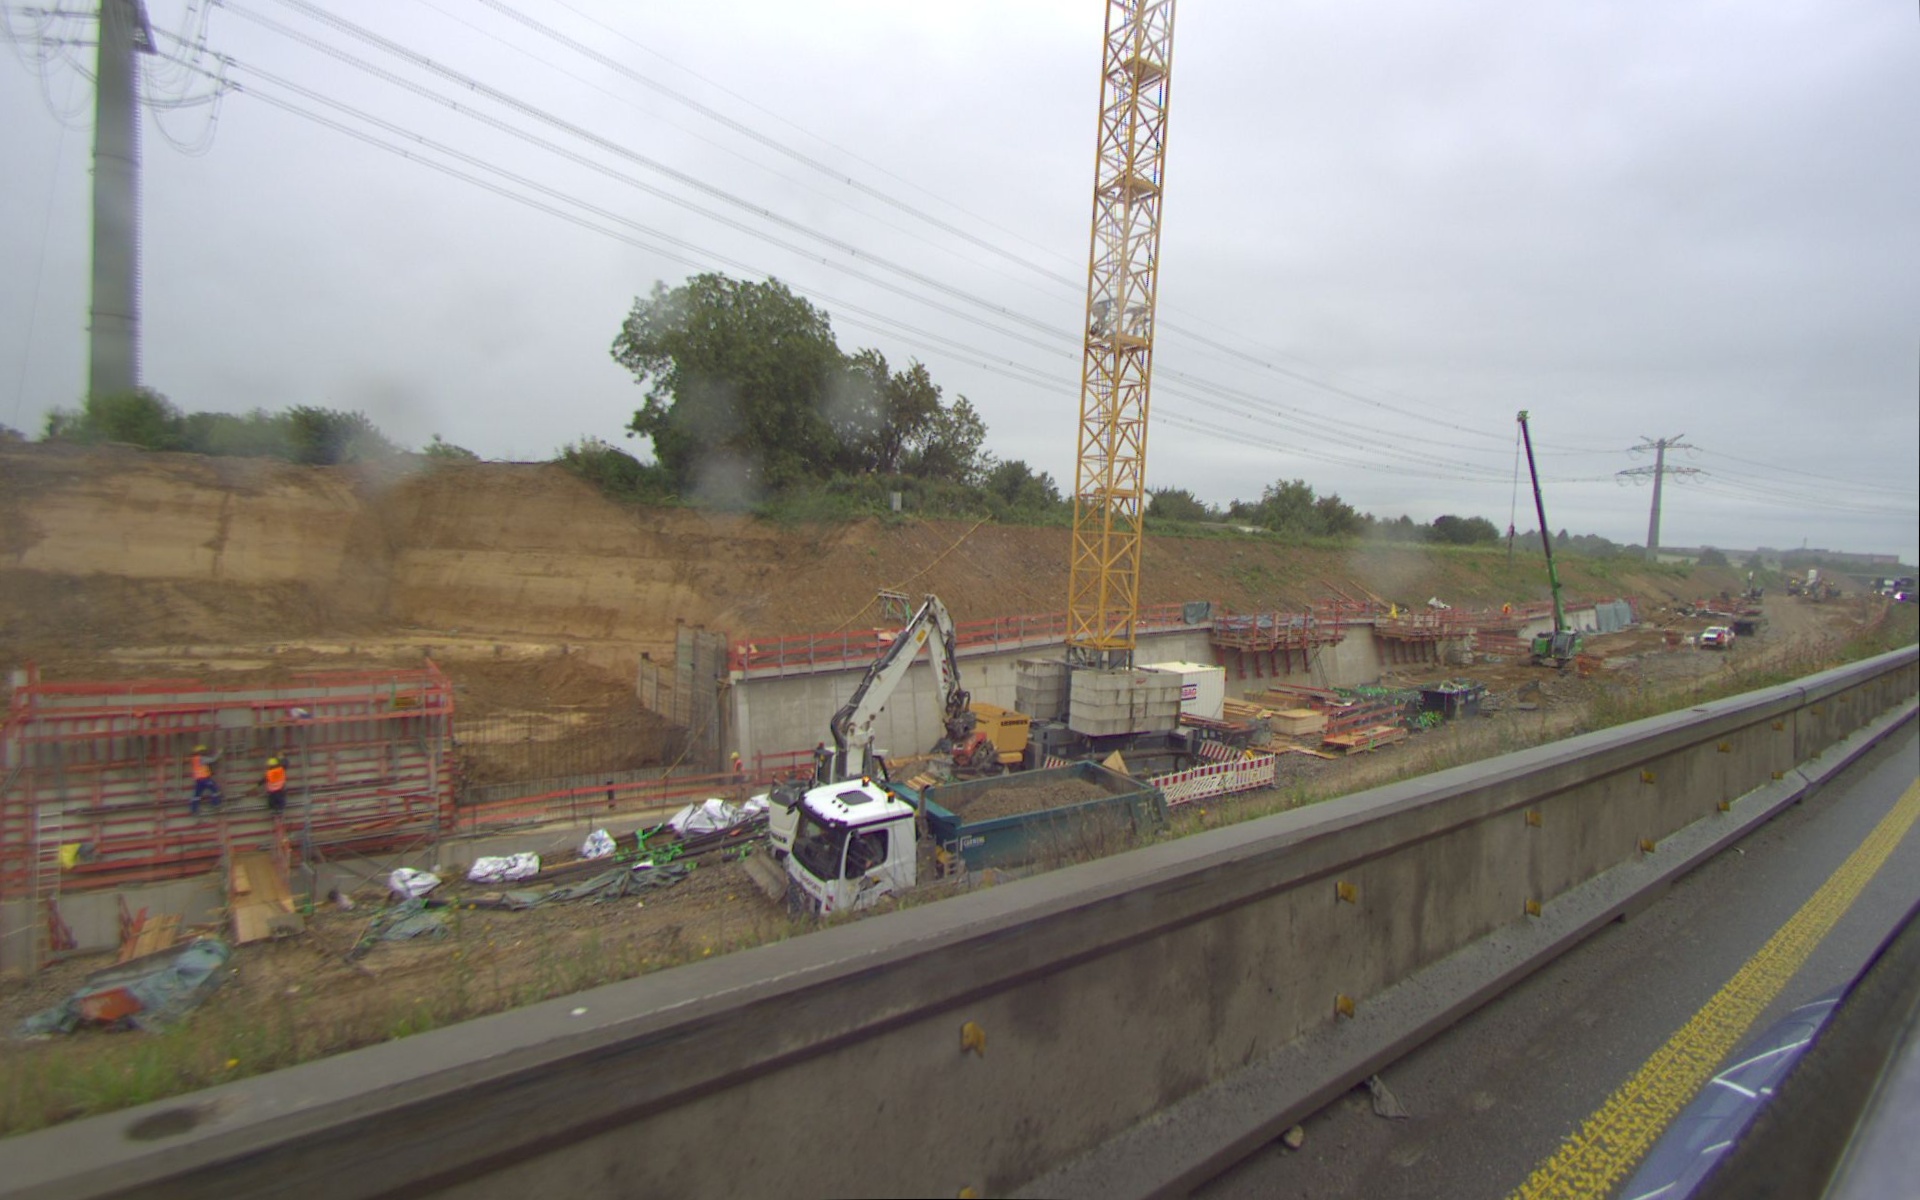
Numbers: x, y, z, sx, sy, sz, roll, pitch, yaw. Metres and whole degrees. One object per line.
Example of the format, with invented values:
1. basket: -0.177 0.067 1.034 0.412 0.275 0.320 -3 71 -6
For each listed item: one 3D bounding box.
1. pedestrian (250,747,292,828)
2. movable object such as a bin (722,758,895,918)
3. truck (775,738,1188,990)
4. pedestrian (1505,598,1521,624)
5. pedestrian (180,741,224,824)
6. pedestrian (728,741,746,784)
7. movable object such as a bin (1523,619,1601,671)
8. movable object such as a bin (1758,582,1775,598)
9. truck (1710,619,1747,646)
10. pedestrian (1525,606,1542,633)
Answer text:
1. pedestrian: -18.890 5.130 27.740 0.882 2.027 0.904 -1 -9 -36
2. movable object such as a bin: -3.677 5.569 24.409 2.917 2.772 3.155 -1 1 -41
3. truck: 0.661 5.296 21.882 8.768 3.547 2.711 -1 1 -29
4. pedestrian: 49.370 0.989 90.381 0.914 2.275 0.991 -5 -2 41
5. pedestrian: -20.100 4.840 26.843 0.882 2.027 0.904 -1 -9 -36
6. pedestrian: -7.947 5.780 36.034 0.392 1.455 0.424 -1 -8 -38
7. movable object such as a bin: 42.697 3.084 71.771 3.793 2.836 4.783 2 7 44
8. movable object such as a bin: 143.748 -1.812 180.415 2.244 2.753 3.941 0 1 41
9. truck: 64.634 2.723 85.076 1.763 1.894 5.694 4 4 45
10. pedestrian: 50.489 1.738 89.084 0.989 2.260 0.916 -2 -2 -41
